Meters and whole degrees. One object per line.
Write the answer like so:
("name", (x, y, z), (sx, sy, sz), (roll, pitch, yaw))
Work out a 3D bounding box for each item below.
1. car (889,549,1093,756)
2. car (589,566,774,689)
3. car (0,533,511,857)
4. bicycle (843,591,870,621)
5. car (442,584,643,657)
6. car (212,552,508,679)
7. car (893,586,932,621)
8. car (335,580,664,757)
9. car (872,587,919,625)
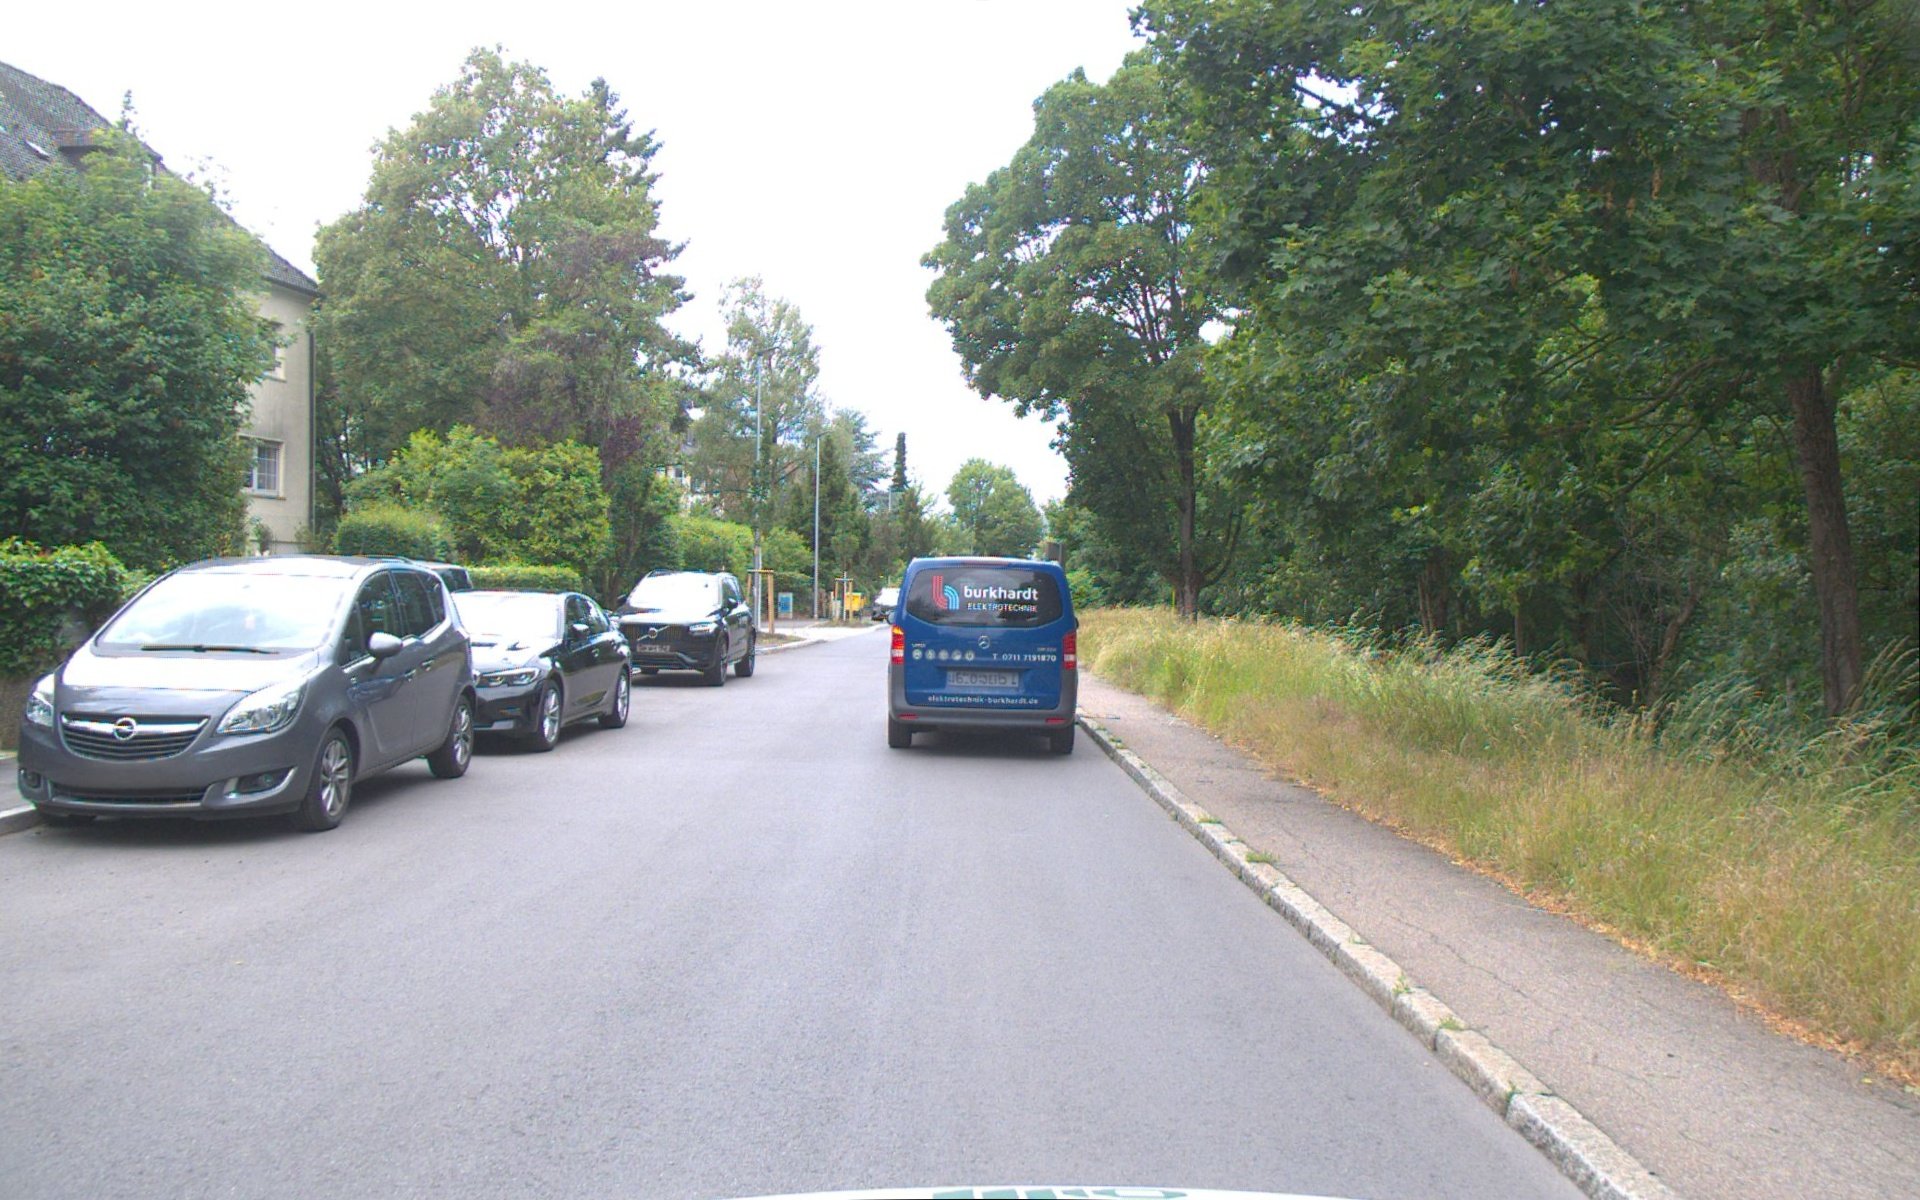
("car", (0.206, 0.424, 17.157), (1.851, 1.876, 3.999), (1, 2, -2))
("car", (-4.432, 0.396, 27.177), (1.933, 1.767, 5.191), (2, 0, 2))
("car", (-4.446, 0.491, 11.003), (1.696, 1.661, 4.567), (2, 0, -1))
("bicycle", (-4.713, 0.277, 75.564), (0.887, 1.273, 2.917), (3, 0, 3))
("car", (-8.794, 0.405, 35.013), (3.743, 1.409, 1.779), (1, 1, 3))
("car", (-8.747, 0.210, 24.247), (3.613, 1.666, 1.830), (2, 0, 13))
("car", (-2.615, 0.173, 91.344), (1.794, 1.782, 4.002), (2, 1, 3))
("car", (-4.339, 0.571, 16.454), (1.718, 1.437, 4.899), (2, 0, 2))
("car", (-3.047, 0.276, 78.445), (1.798, 1.659, 4.302), (2, 0, 3))
